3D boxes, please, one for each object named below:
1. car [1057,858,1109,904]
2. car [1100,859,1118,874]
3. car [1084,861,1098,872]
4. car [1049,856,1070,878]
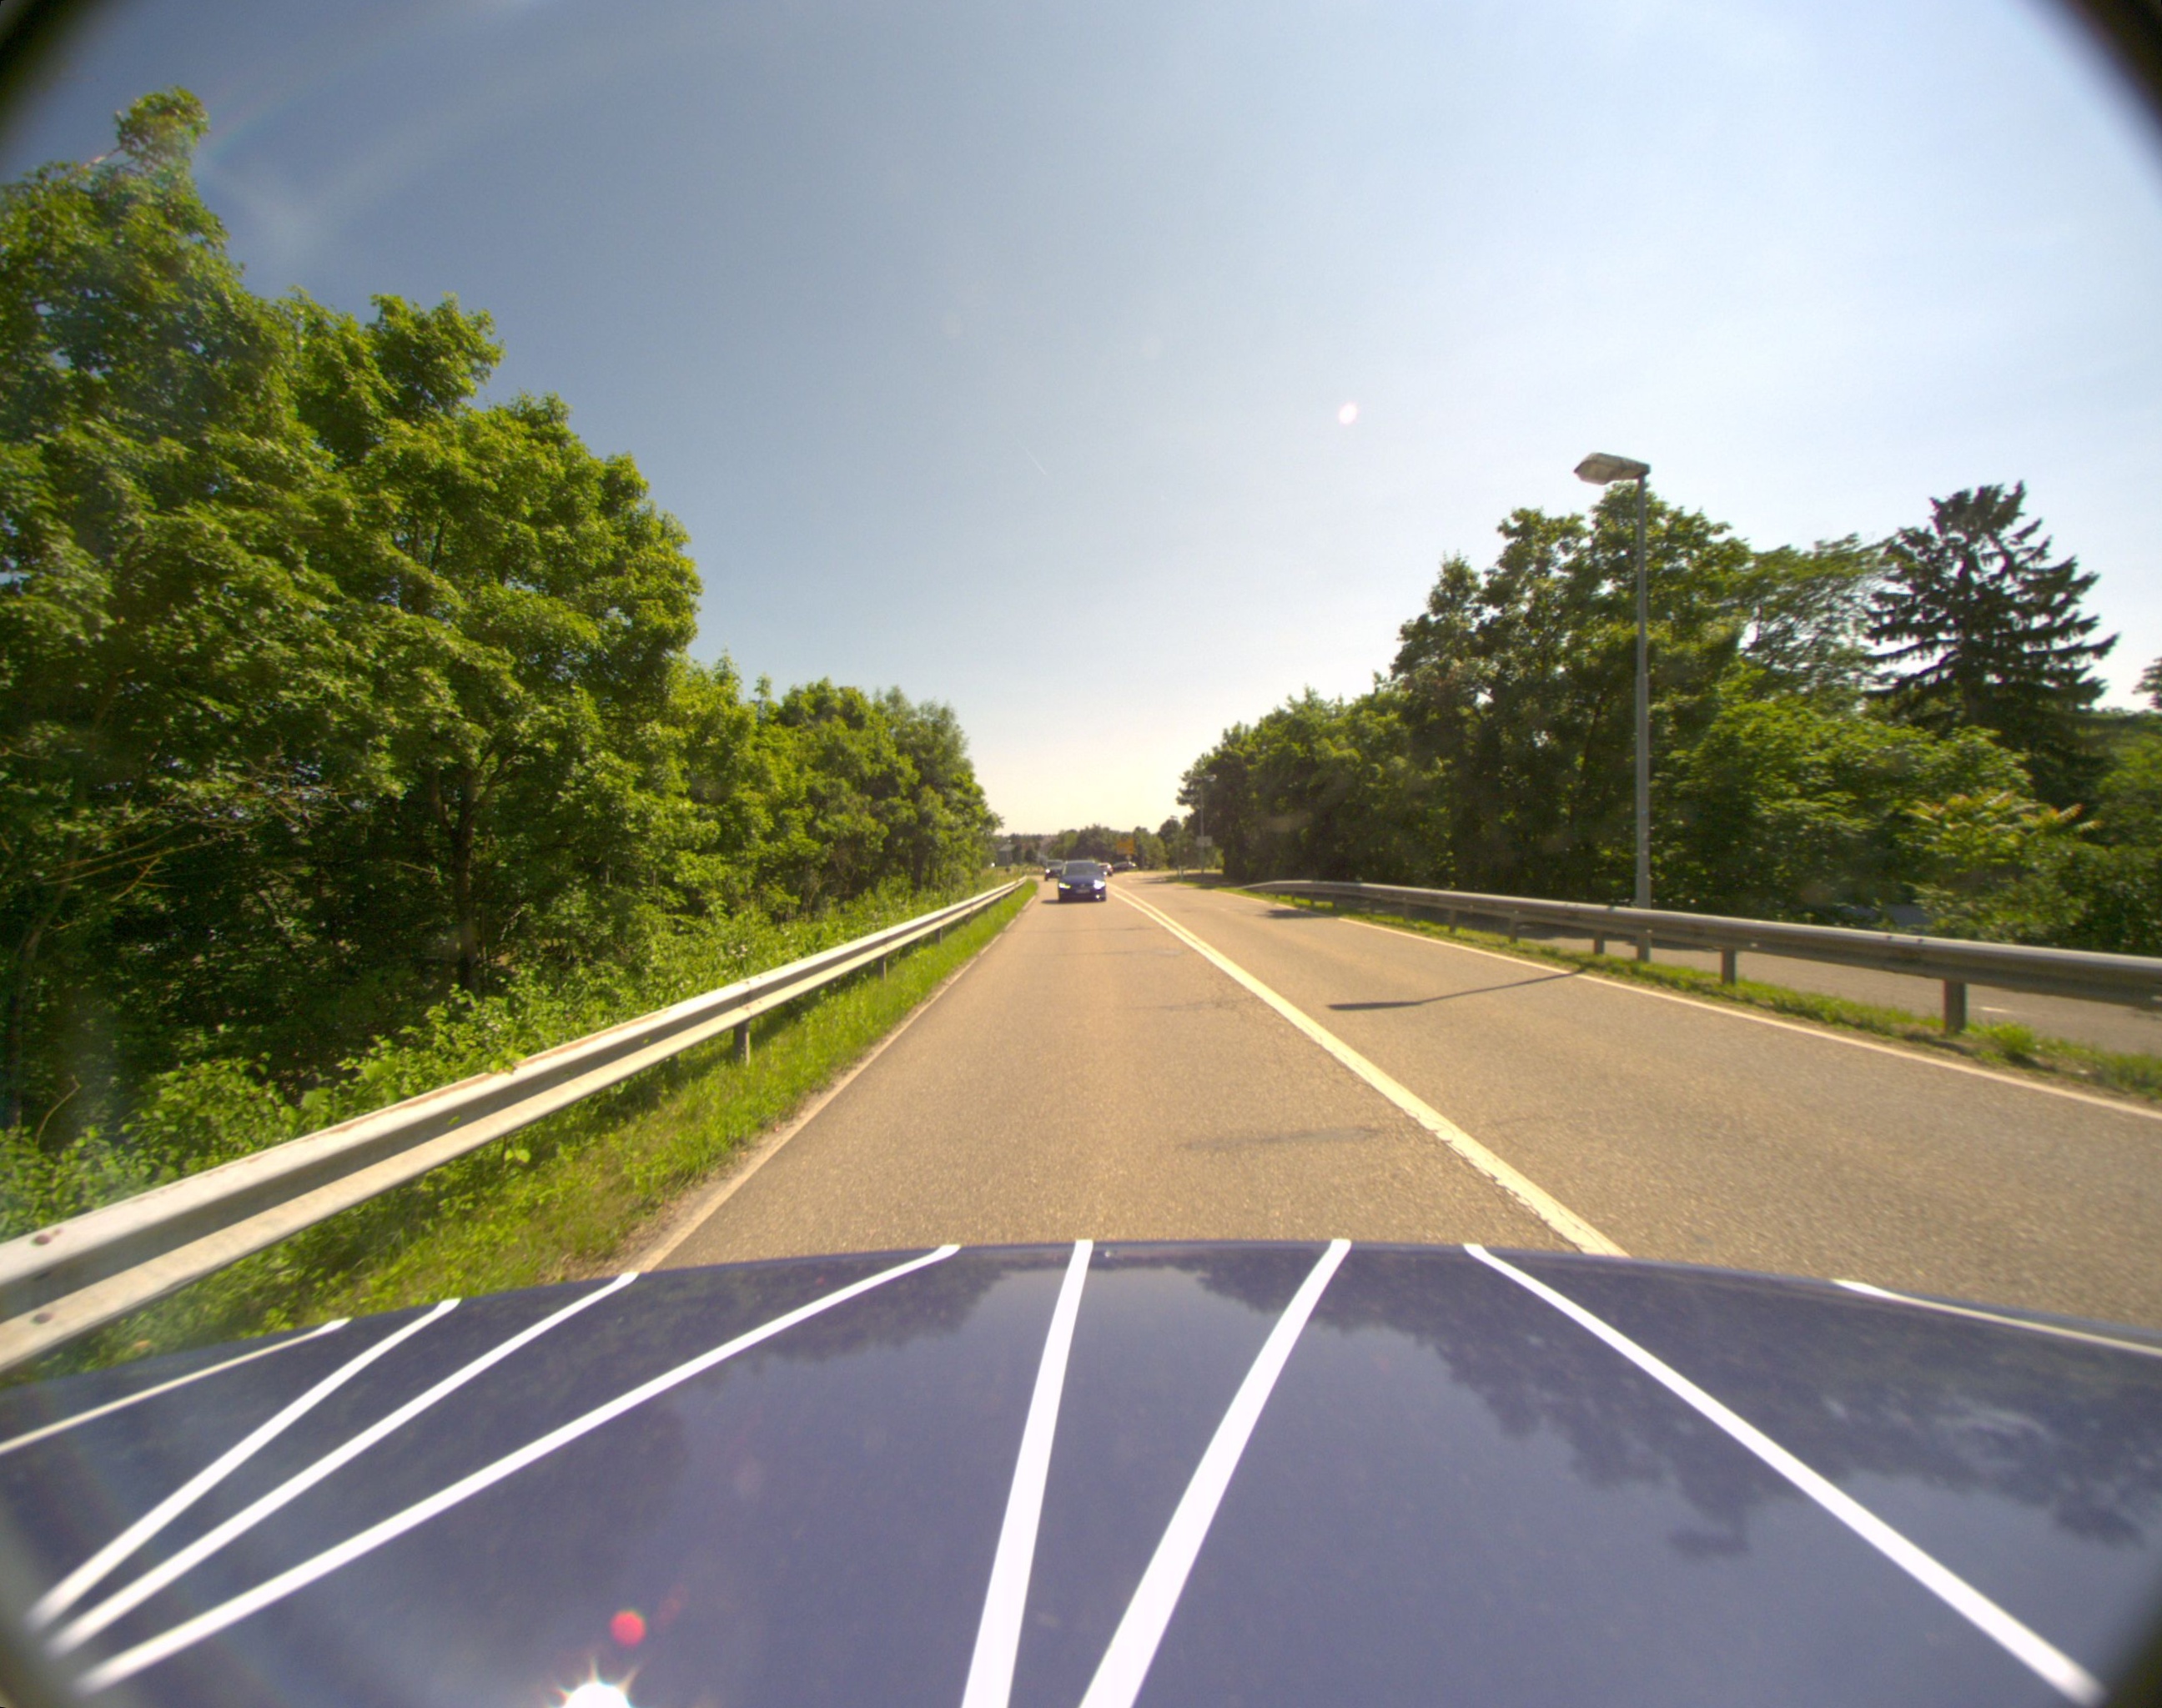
[{"bbox_3d":[0.134,0.982,29.310,1.828,1.591,4.196,-2,0,2],"label":"car"},{"bbox_3d":[3.055,1.376,84.118,1.744,1.447,3.888,-3,0,0],"label":"car"},{"bbox_3d":[1.285,1.685,101.781,1.631,1.396,3.432,-2,0,-3],"label":"car"},{"bbox_3d":[-1.996,1.195,71.453,1.779,2.006,4.000,0,-1,0],"label":"car"}]
